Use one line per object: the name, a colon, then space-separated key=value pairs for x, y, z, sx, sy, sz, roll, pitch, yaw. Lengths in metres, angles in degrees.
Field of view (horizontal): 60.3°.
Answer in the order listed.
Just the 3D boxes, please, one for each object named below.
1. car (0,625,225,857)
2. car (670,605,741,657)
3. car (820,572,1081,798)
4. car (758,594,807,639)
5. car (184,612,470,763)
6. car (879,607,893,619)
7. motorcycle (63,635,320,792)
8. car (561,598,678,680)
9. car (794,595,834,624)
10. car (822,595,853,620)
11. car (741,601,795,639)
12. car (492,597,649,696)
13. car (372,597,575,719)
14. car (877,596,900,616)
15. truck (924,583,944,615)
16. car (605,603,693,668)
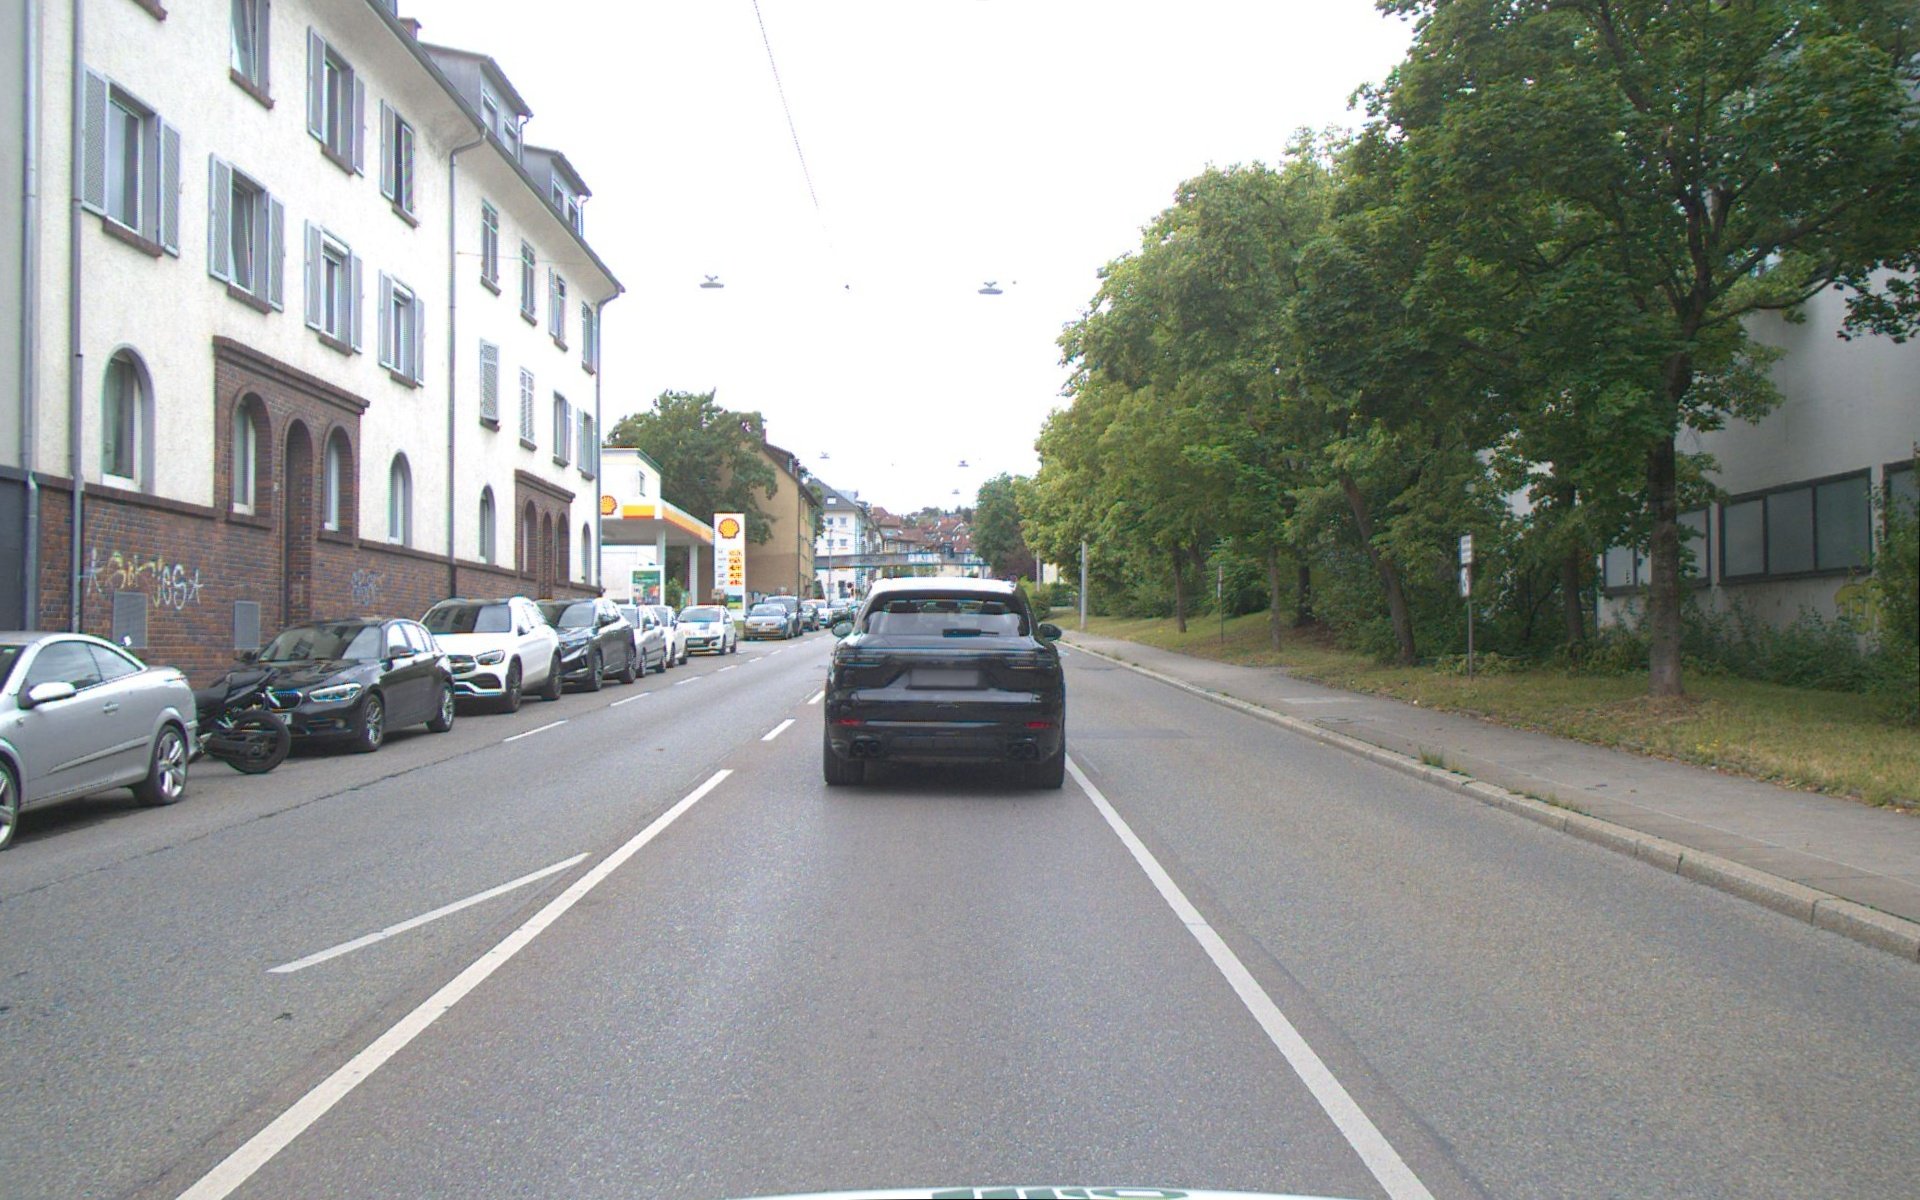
car: x=-6.957 y=0.934 z=11.692 sx=1.692 sy=1.398 sz=4.335 roll=-1 pitch=0 yaw=-2
car: x=-7.654 y=0.905 z=50.018 sx=1.586 sy=1.450 sz=3.665 roll=-1 pitch=0 yaw=0
car: x=-0.083 y=0.622 z=14.394 sx=1.953 sy=1.691 sz=4.000 roll=0 pitch=0 yaw=0
car: x=-7.881 y=0.721 z=73.818 sx=1.814 sy=1.867 sz=4.699 roll=-2 pitch=0 yaw=-2
car: x=-7.024 y=0.896 z=18.837 sx=1.692 sy=1.454 sz=4.191 roll=-1 pitch=0 yaw=-1
car: x=-10.037 y=1.780 z=224.026 sx=1.729 sy=1.534 sz=4.000 roll=0 pitch=0 yaw=0
motorcycle: x=-7.041 y=1.017 z=15.269 sx=2.009 sy=1.257 sz=0.803 roll=-3 pitch=0 yaw=-19
car: x=-7.273 y=0.792 z=35.646 sx=1.692 sy=1.585 sz=4.080 roll=-3 pitch=0 yaw=-1
car: x=-8.305 y=0.535 z=94.559 sx=1.876 sy=1.605 sz=4.699 roll=-1 pitch=0 yaw=0
car: x=-8.579 y=0.520 z=116.158 sx=1.746 sy=1.637 sz=4.264 roll=-3 pitch=0 yaw=0
car: x=-7.865 y=0.810 z=68.054 sx=1.754 sy=1.475 sz=4.217 roll=-2 pitch=0 yaw=-1
car: x=-7.046 y=0.789 z=30.355 sx=1.691 sy=1.627 sz=4.502 roll=-1 pitch=0 yaw=1
car: x=-7.266 y=0.797 z=25.203 sx=1.808 sy=1.649 sz=4.642 roll=-1 pitch=0 yaw=-2
car: x=-5.810 y=0.477 z=134.534 sx=1.761 sy=1.551 sz=3.999 roll=-2 pitch=0 yaw=-1
truck: x=-2.960 y=-0.066 z=188.750 sx=2.220 sy=3.484 sz=9.875 roll=0 pitch=0 yaw=-1
car: x=-7.584 y=0.839 z=40.633 sx=1.516 sy=1.501 sz=3.603 roll=-1 pitch=0 yaw=-1
